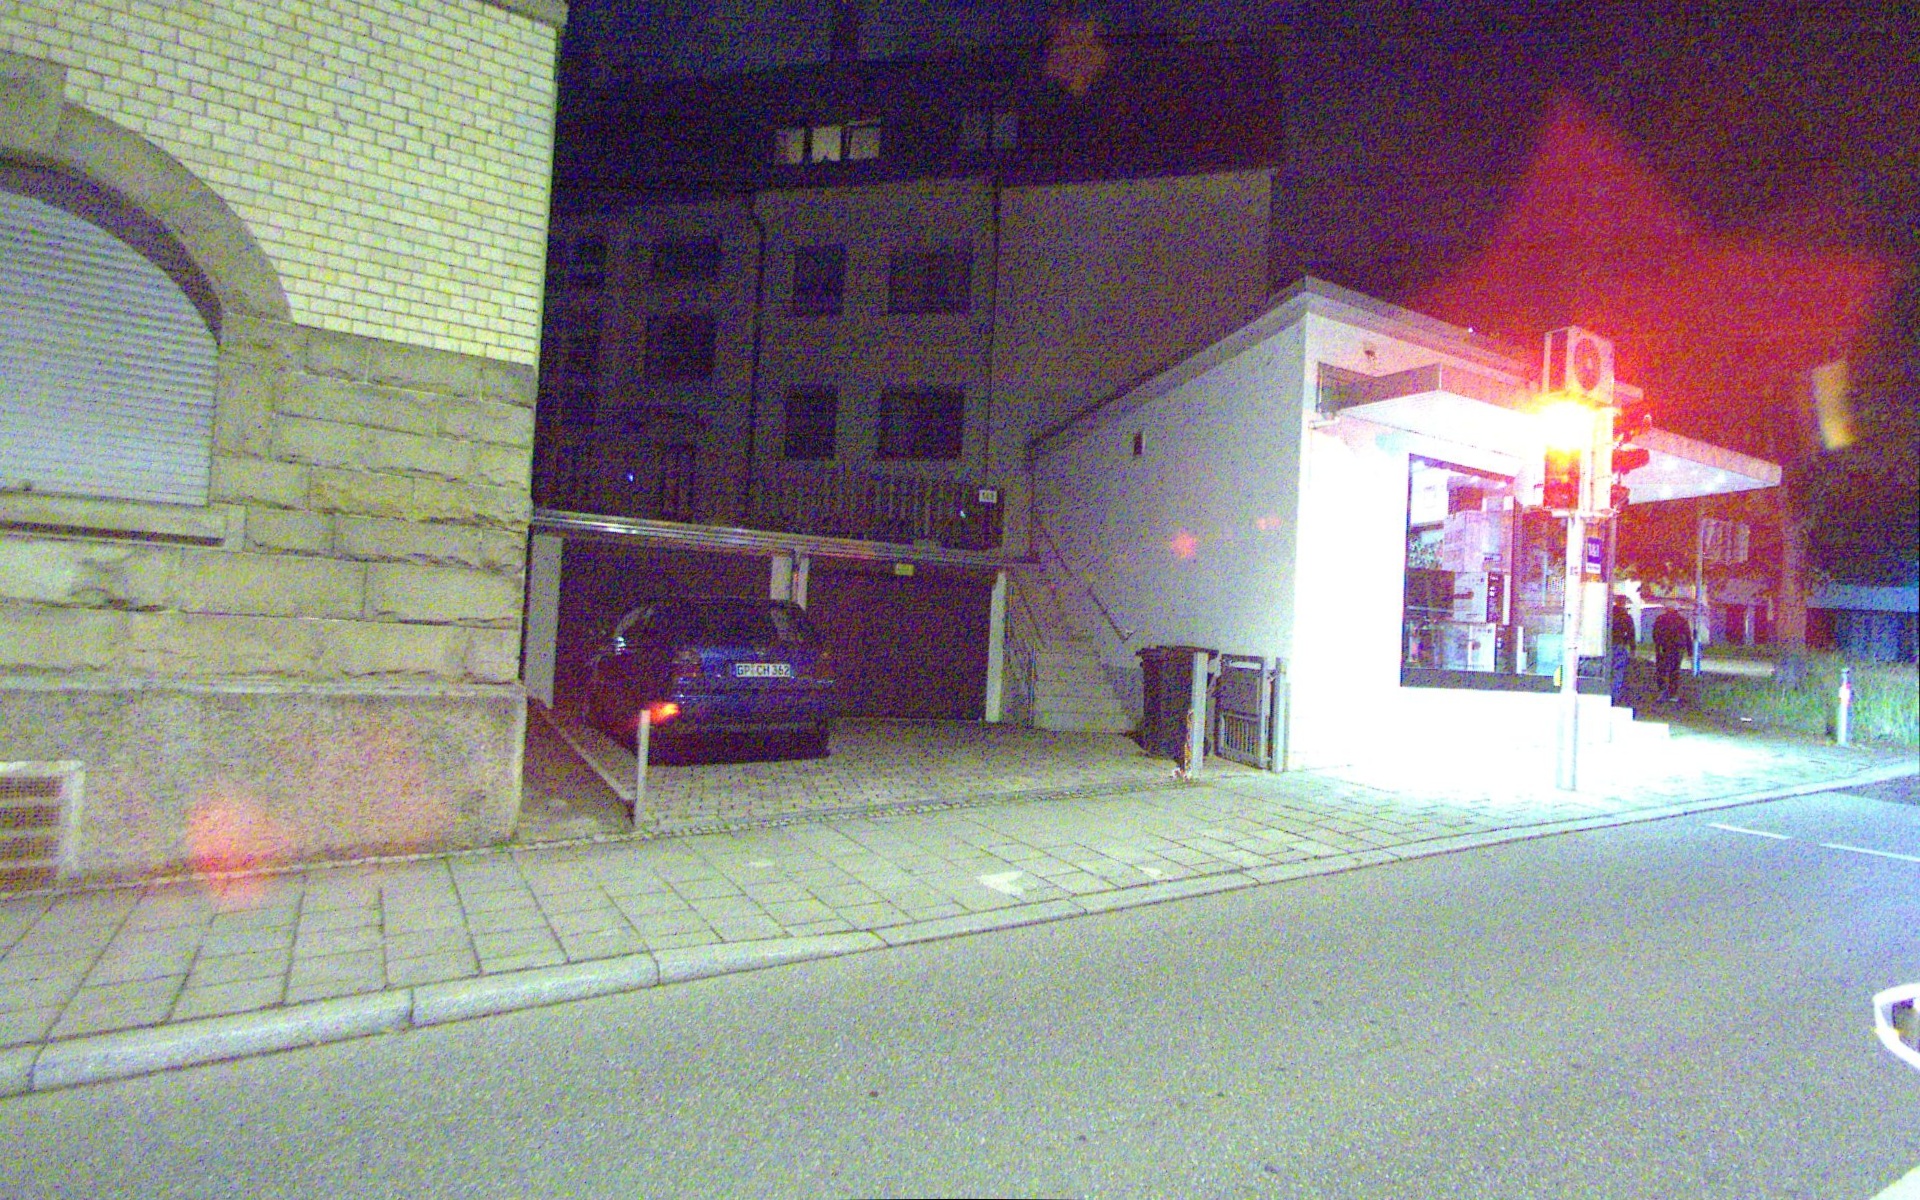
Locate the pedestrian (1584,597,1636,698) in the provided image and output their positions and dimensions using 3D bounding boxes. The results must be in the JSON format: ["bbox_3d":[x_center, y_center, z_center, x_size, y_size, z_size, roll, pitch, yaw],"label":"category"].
[{"bbox_3d":[11.614,0.841,17.952,0.537,1.754,0.567,2,0,-30],"label":"pedestrian"}]

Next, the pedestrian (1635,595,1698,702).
[{"bbox_3d":[12.356,0.841,17.567,0.729,1.801,0.567,2,2,-30],"label":"pedestrian"}]

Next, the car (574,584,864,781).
[{"bbox_3d":[-2.465,0.621,9.579,1.700,1.460,3.631,2,0,-30],"label":"car"}]
